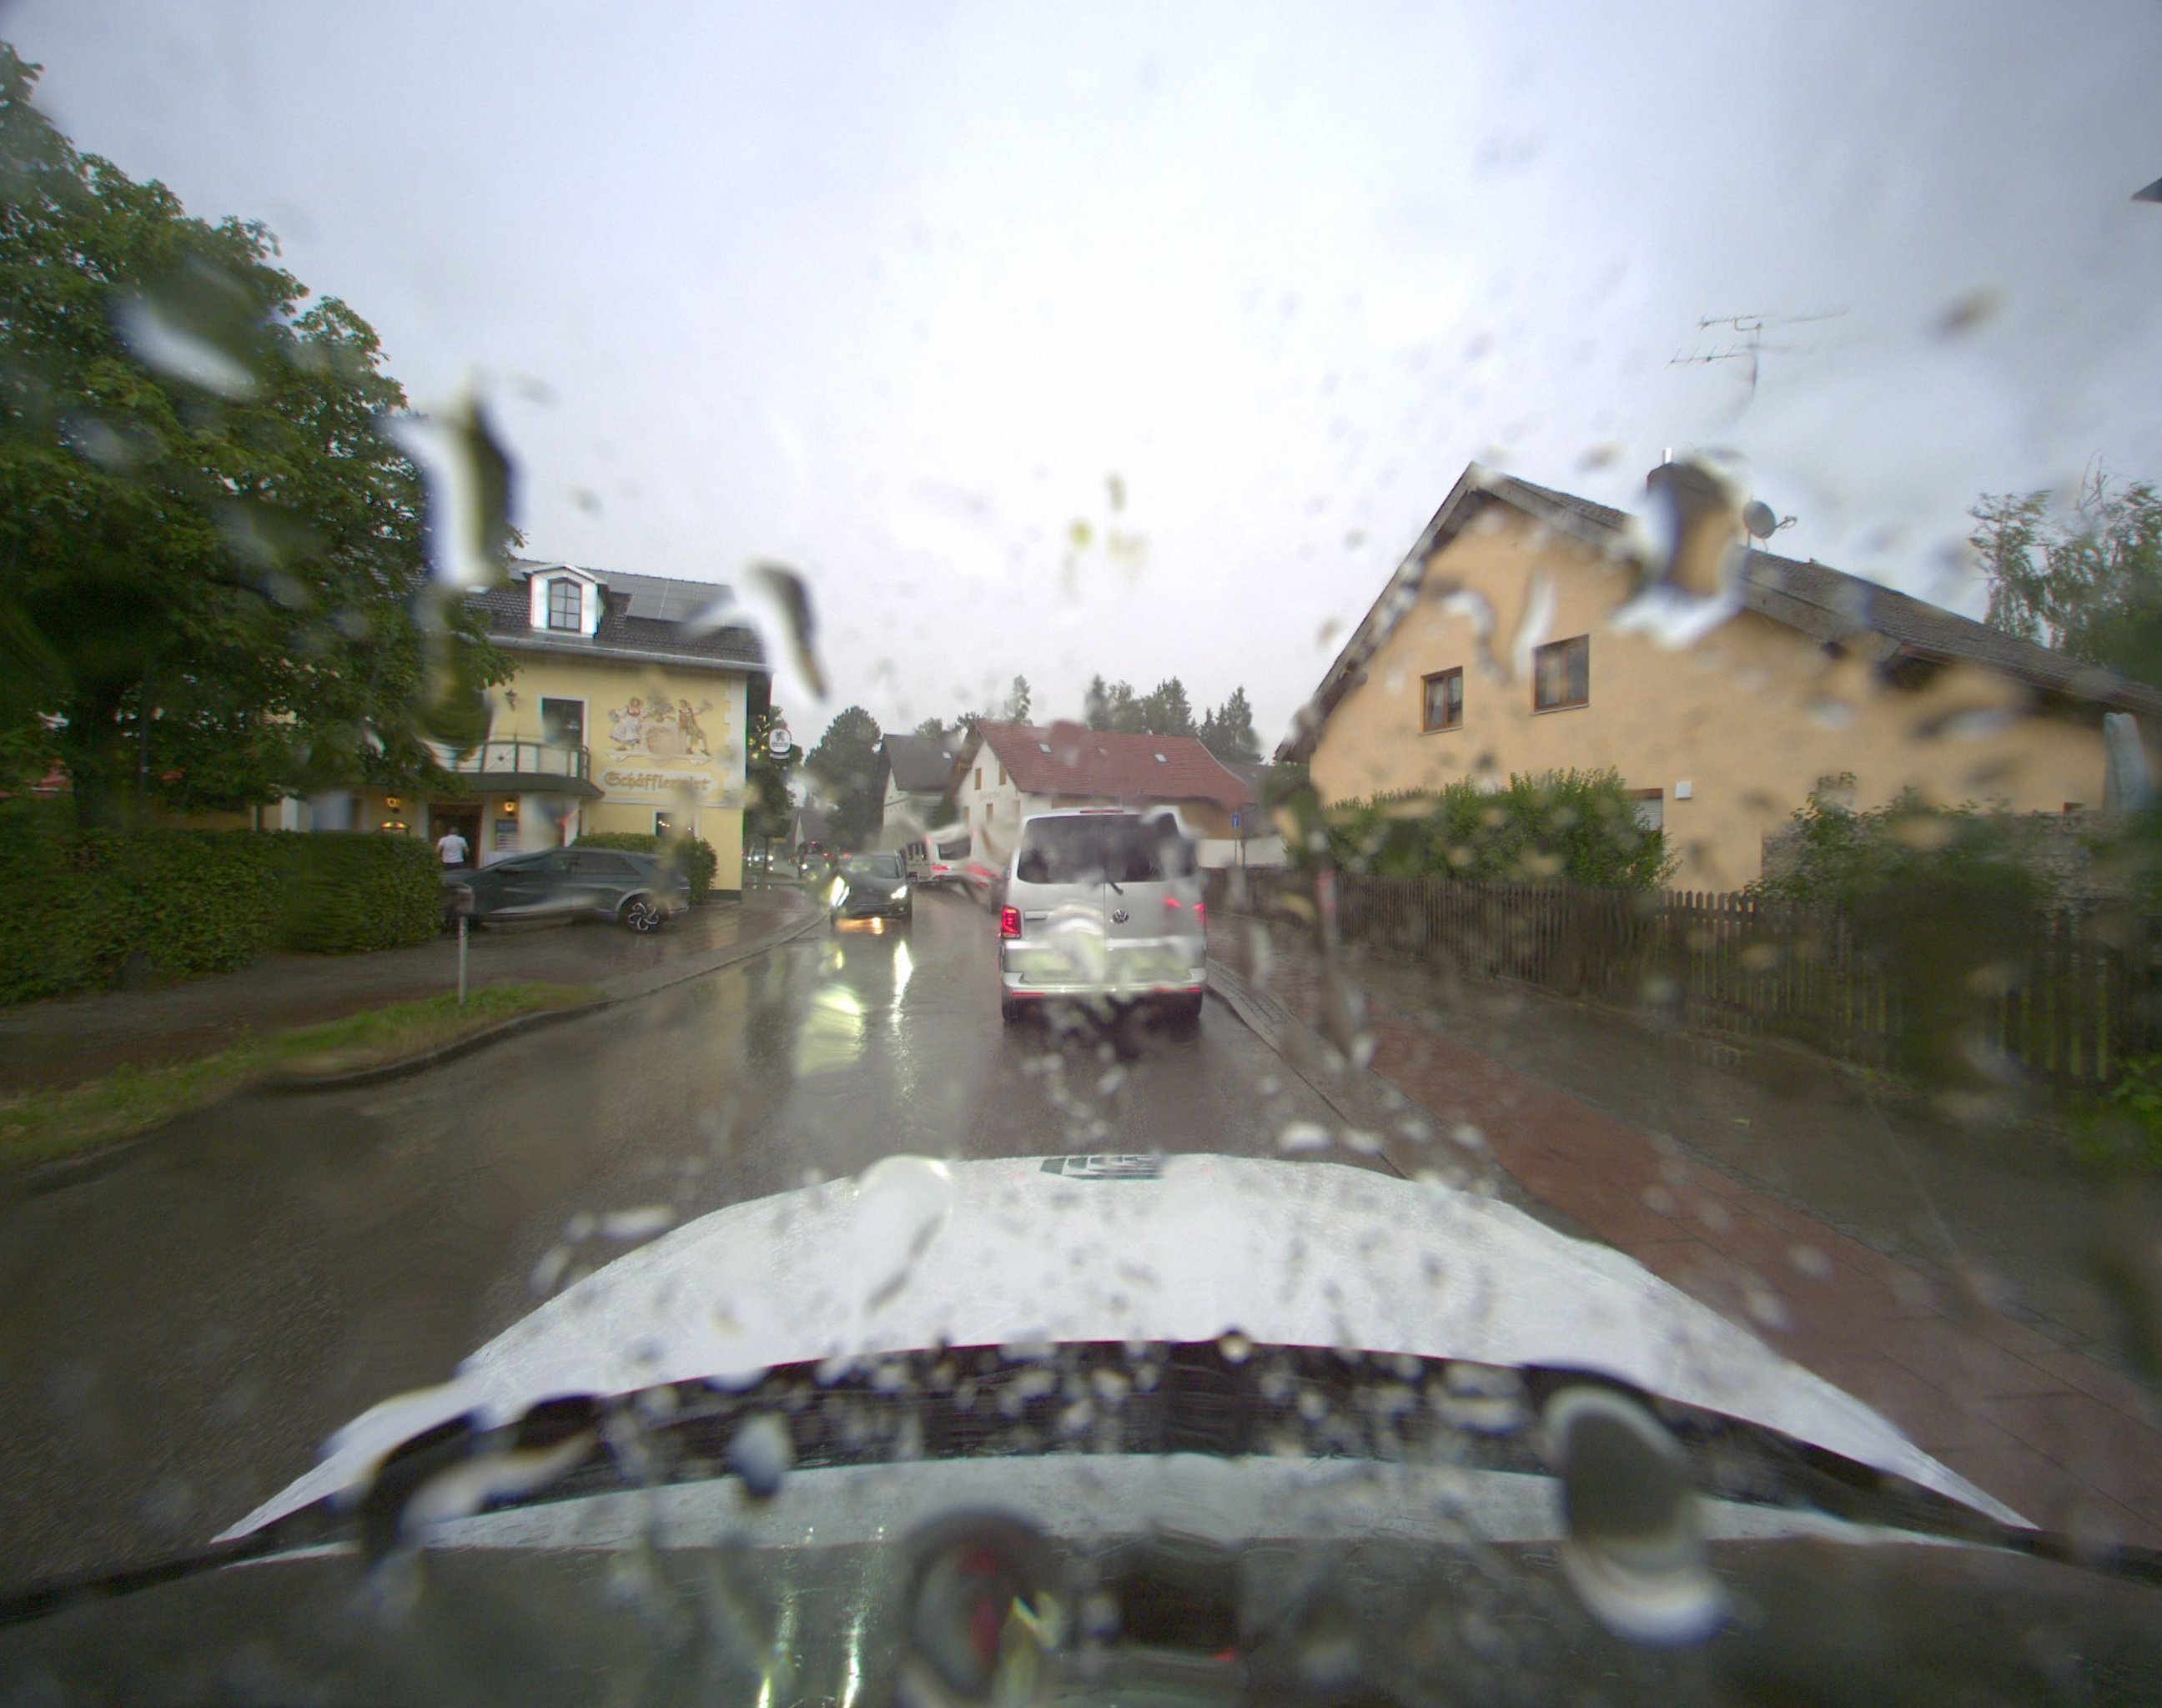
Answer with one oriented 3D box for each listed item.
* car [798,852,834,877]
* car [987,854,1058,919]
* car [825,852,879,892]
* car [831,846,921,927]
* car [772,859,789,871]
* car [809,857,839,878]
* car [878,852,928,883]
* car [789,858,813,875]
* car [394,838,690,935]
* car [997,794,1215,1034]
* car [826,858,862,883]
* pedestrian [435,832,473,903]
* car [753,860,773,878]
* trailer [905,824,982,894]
[{"bbox_3d":[-17.703,0.701,54.408,1.596,1.610,3.505,-1,-1,-30],"label":"car"},{"bbox_3d":[-1.789,0.852,23.598,1.707,1.584,4.673,-2,1,-8],"label":"car"},{"bbox_3d":[-10.585,0.823,37.508,1.762,1.677,3.966,-1,-1,-25],"label":"car"},{"bbox_3d":[-5.151,0.716,20.179,1.927,1.744,4.168,-1,0,-17],"label":"car"},{"bbox_3d":[-49.869,1.759,135.128,2.179,1.899,4.974,1,0,-24],"label":"car"},{"bbox_3d":[-24.372,1.254,77.100,2.179,1.899,4.974,1,0,-24],"label":"car"},{"bbox_3d":[-11.645,0.887,53.002,2.179,1.899,4.974,1,-1,-24],"label":"car"},{"bbox_3d":[-33.413,1.470,97.078,2.179,1.899,4.974,1,0,-24],"label":"car"},{"bbox_3d":[-10.111,0.649,15.781,4.498,1.567,1.824,4,0,-26],"label":"car"},{"bbox_3d":[0.317,0.510,9.274,1.769,1.963,5.077,-1,0,2],"label":"car"},{"bbox_3d":[-19.367,1.325,66.387,2.179,1.899,4.974,1,0,-24],"label":"car"},{"bbox_3d":[-15.225,0.324,19.773,0.492,1.690,0.550,4,-1,-21],"label":"pedestrian"},{"bbox_3d":[-37.384,1.764,95.596,1.860,1.971,4.662,-1,-1,-25],"label":"car"},{"bbox_3d":[-6.337,0.223,36.862,2.279,2.904,6.089,0,0,-21],"label":"trailer"}]
